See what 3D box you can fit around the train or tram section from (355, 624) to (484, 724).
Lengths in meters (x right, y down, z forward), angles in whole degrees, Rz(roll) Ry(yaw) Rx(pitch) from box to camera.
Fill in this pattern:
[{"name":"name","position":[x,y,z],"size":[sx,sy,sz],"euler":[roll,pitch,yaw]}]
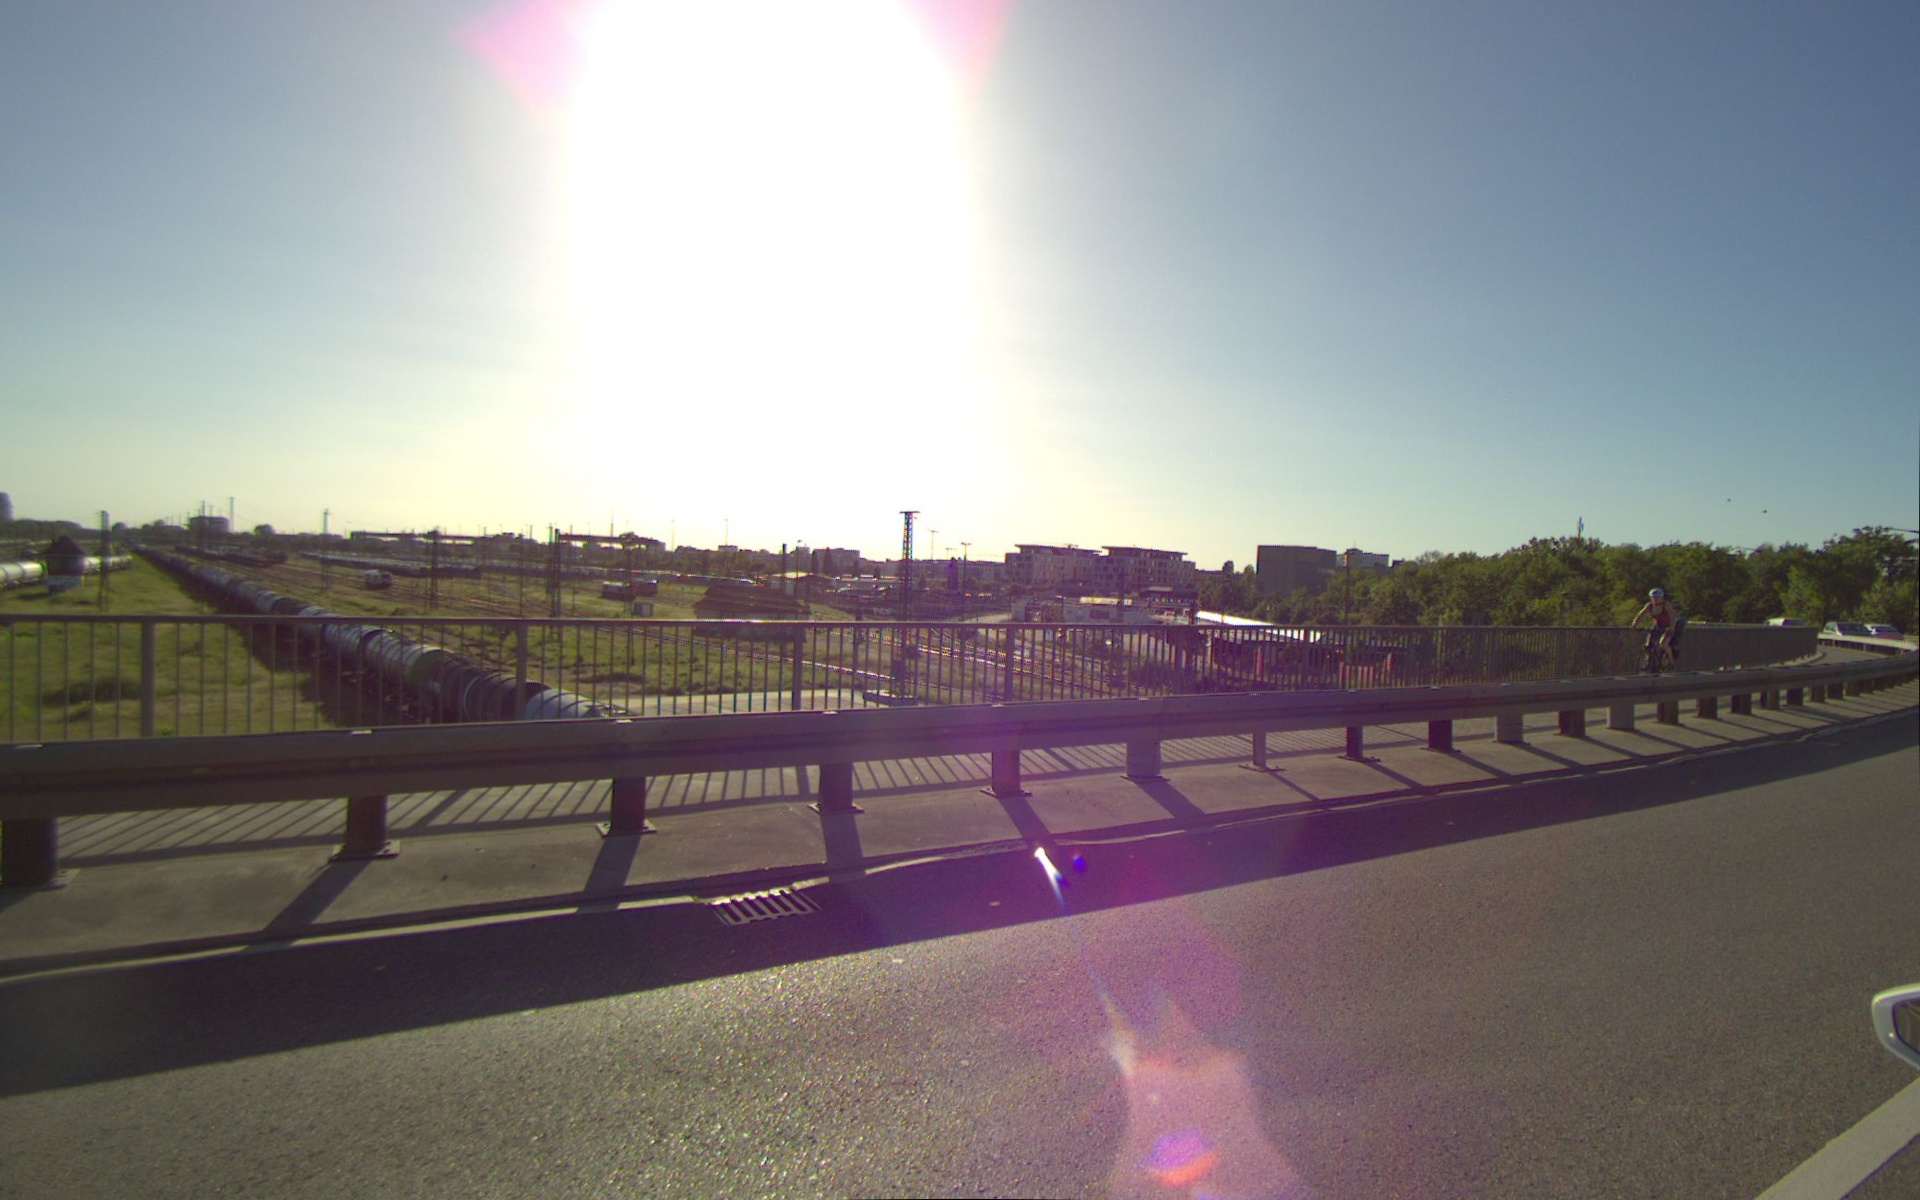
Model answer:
[{"name":"train or tram section","position":[-34.534,4.307,63.576],"size":[3.874,5.083,16.471],"euler":[1,0,-40]}]

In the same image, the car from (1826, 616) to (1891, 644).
[{"name":"car","position":[56.023,1.850,62.718],"size":[1.819,1.645,4.099],"euler":[1,0,24]}]

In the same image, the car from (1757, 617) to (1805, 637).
[{"name":"car","position":[67.451,2.184,82.601],"size":[1.805,1.576,3.894],"euler":[1,0,19]}]

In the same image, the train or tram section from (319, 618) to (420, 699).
[{"name":"train or tram section","position":[-44.977,4.151,76.089],"size":[3.874,5.083,16.174],"euler":[1,0,-40]}]

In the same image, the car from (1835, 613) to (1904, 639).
[{"name":"car","position":[61.069,1.719,67.508],"size":[1.828,1.606,3.916],"euler":[1,0,15]}]

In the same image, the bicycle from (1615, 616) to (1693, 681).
[{"name":"bicycle","position":[12.143,0.825,17.555],"size":[1.875,1.079,0.648],"euler":[1,0,-41]}]

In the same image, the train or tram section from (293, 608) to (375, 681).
[{"name":"train or tram section","position":[-55.394,3.678,88.549],"size":[3.874,5.592,16.311],"euler":[1,0,-40]}]

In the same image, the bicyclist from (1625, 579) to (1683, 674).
[{"name":"bicyclist","position":[12.097,0.459,17.506],"size":[0.762,1.610,0.648],"euler":[1,0,-41]}]

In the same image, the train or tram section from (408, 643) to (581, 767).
[{"name":"train or tram section","position":[-24.098,4.878,51.052],"size":[3.874,4.652,16.121],"euler":[1,0,-40]}]

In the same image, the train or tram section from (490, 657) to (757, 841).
[{"name":"train or tram section","position":[-13.585,5.027,38.499],"size":[3.874,4.652,16.572],"euler":[1,0,-40]}]
